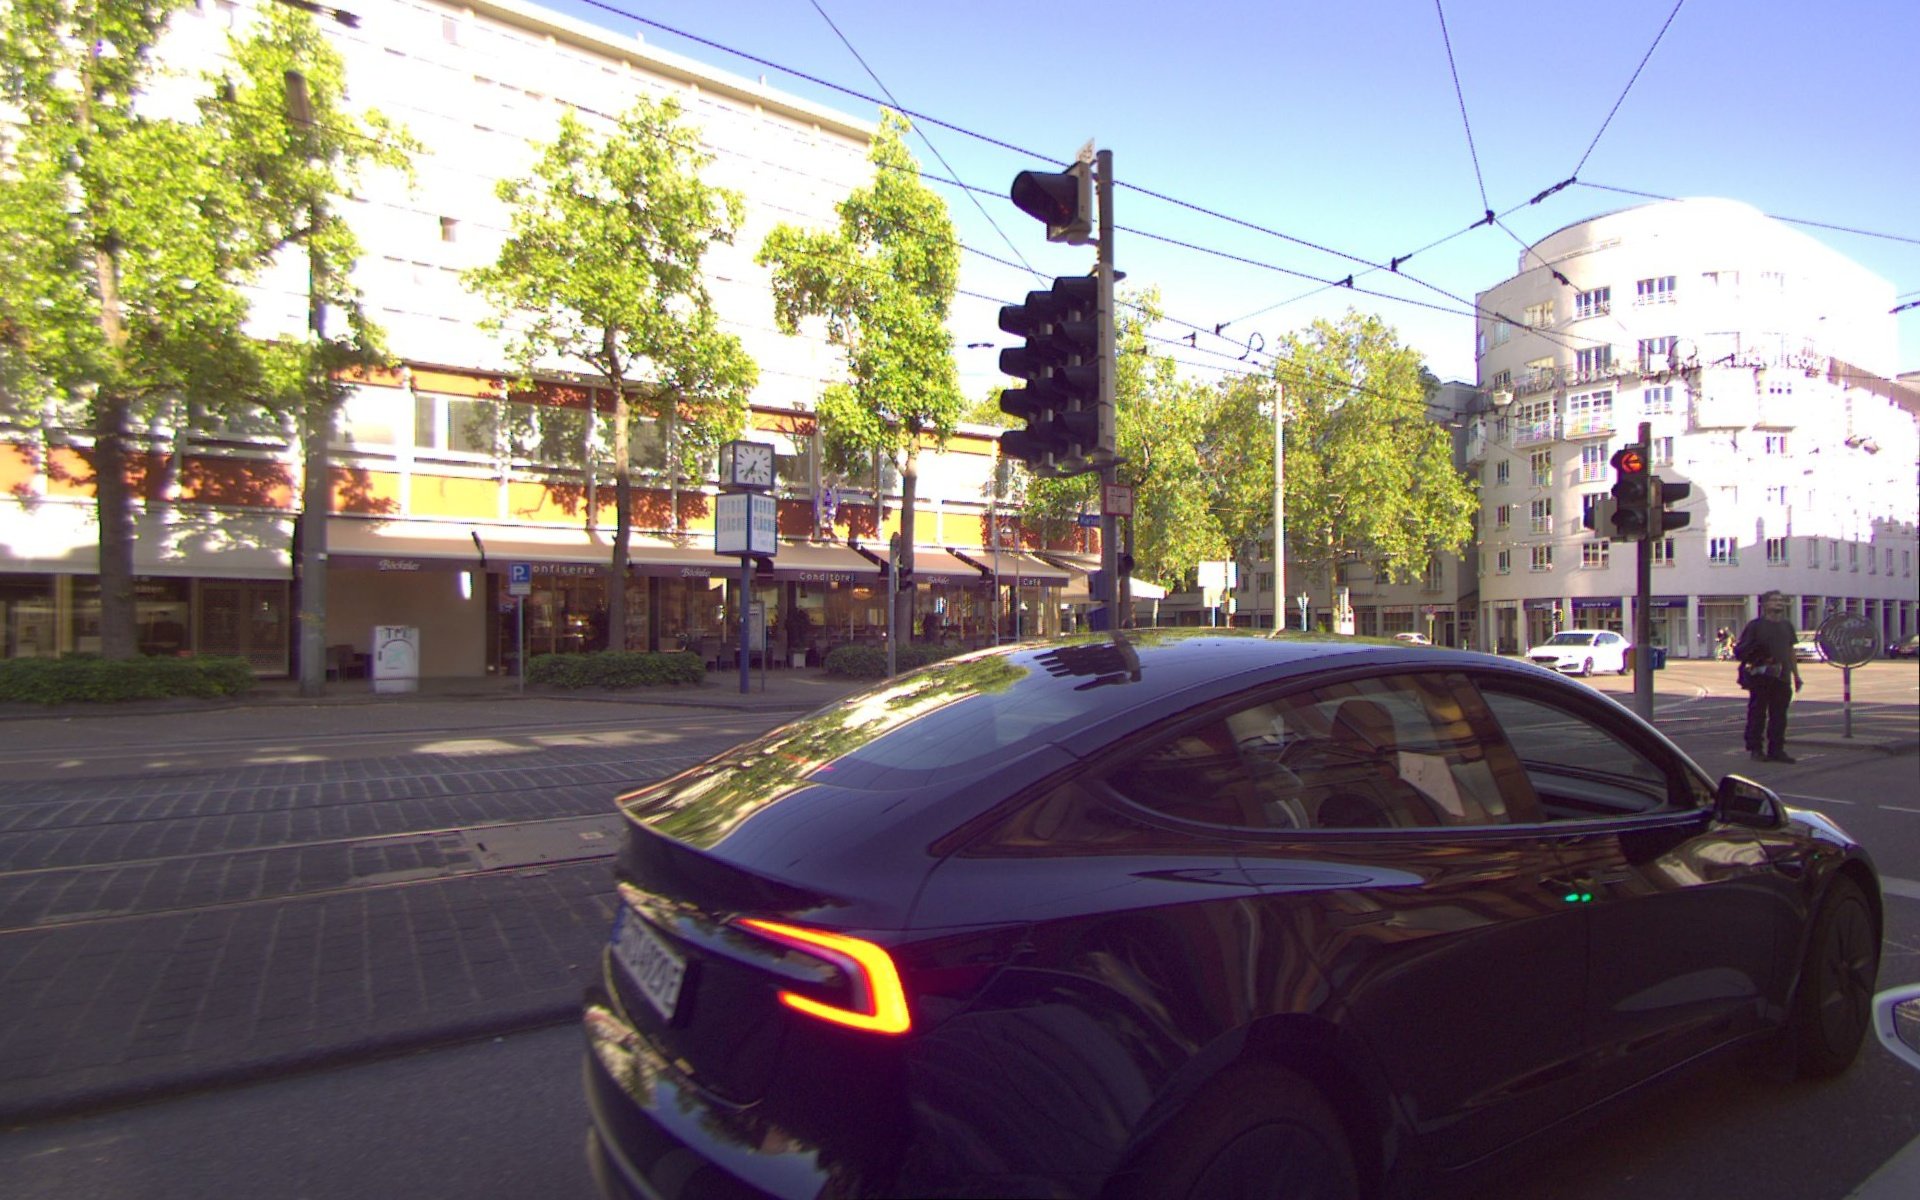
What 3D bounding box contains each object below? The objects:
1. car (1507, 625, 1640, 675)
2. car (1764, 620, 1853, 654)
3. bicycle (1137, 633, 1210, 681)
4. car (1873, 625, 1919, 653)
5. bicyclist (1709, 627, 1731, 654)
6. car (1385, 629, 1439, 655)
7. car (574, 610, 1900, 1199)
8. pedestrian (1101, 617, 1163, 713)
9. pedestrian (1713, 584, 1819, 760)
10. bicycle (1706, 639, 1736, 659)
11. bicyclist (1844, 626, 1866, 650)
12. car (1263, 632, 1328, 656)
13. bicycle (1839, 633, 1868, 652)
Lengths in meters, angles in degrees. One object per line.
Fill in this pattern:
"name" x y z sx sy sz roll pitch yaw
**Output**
"car" 19.494 1.540 31.874 4.456 1.470 1.981 1 -2 -35
"car" 38.908 1.671 46.042 4.602 1.470 1.981 1 -2 -35
"bicycle" 5.639 1.492 26.472 2.212 1.202 0.494 1 -2 -35
"car" 55.370 2.294 58.803 3.960 1.617 1.981 2 -3 -35
"bicyclist" 36.964 1.963 48.844 0.917 1.302 0.585 2 -2 -32
"car" 28.127 2.597 62.455 1.779 1.421 4.077 -1 0 43
"car" 1.125 0.783 3.183 4.109 1.443 1.800 1 0 -33
"pedestrian" 2.824 1.056 16.509 0.850 1.537 0.497 1 -3 -33
"pedestrian" 8.588 0.753 10.703 0.885 1.786 0.555 1 -3 -33
"bicycle" 37.024 2.379 48.855 1.798 0.985 0.591 2 -3 -33
"bicyclist" 49.500 2.108 55.574 0.979 1.302 0.586 2 -2 -27
"car" 22.077 2.877 66.223 1.781 1.421 3.978 -1 0 -28
"bicycle" 49.448 2.350 55.584 1.831 0.985 0.592 2 -2 -28
